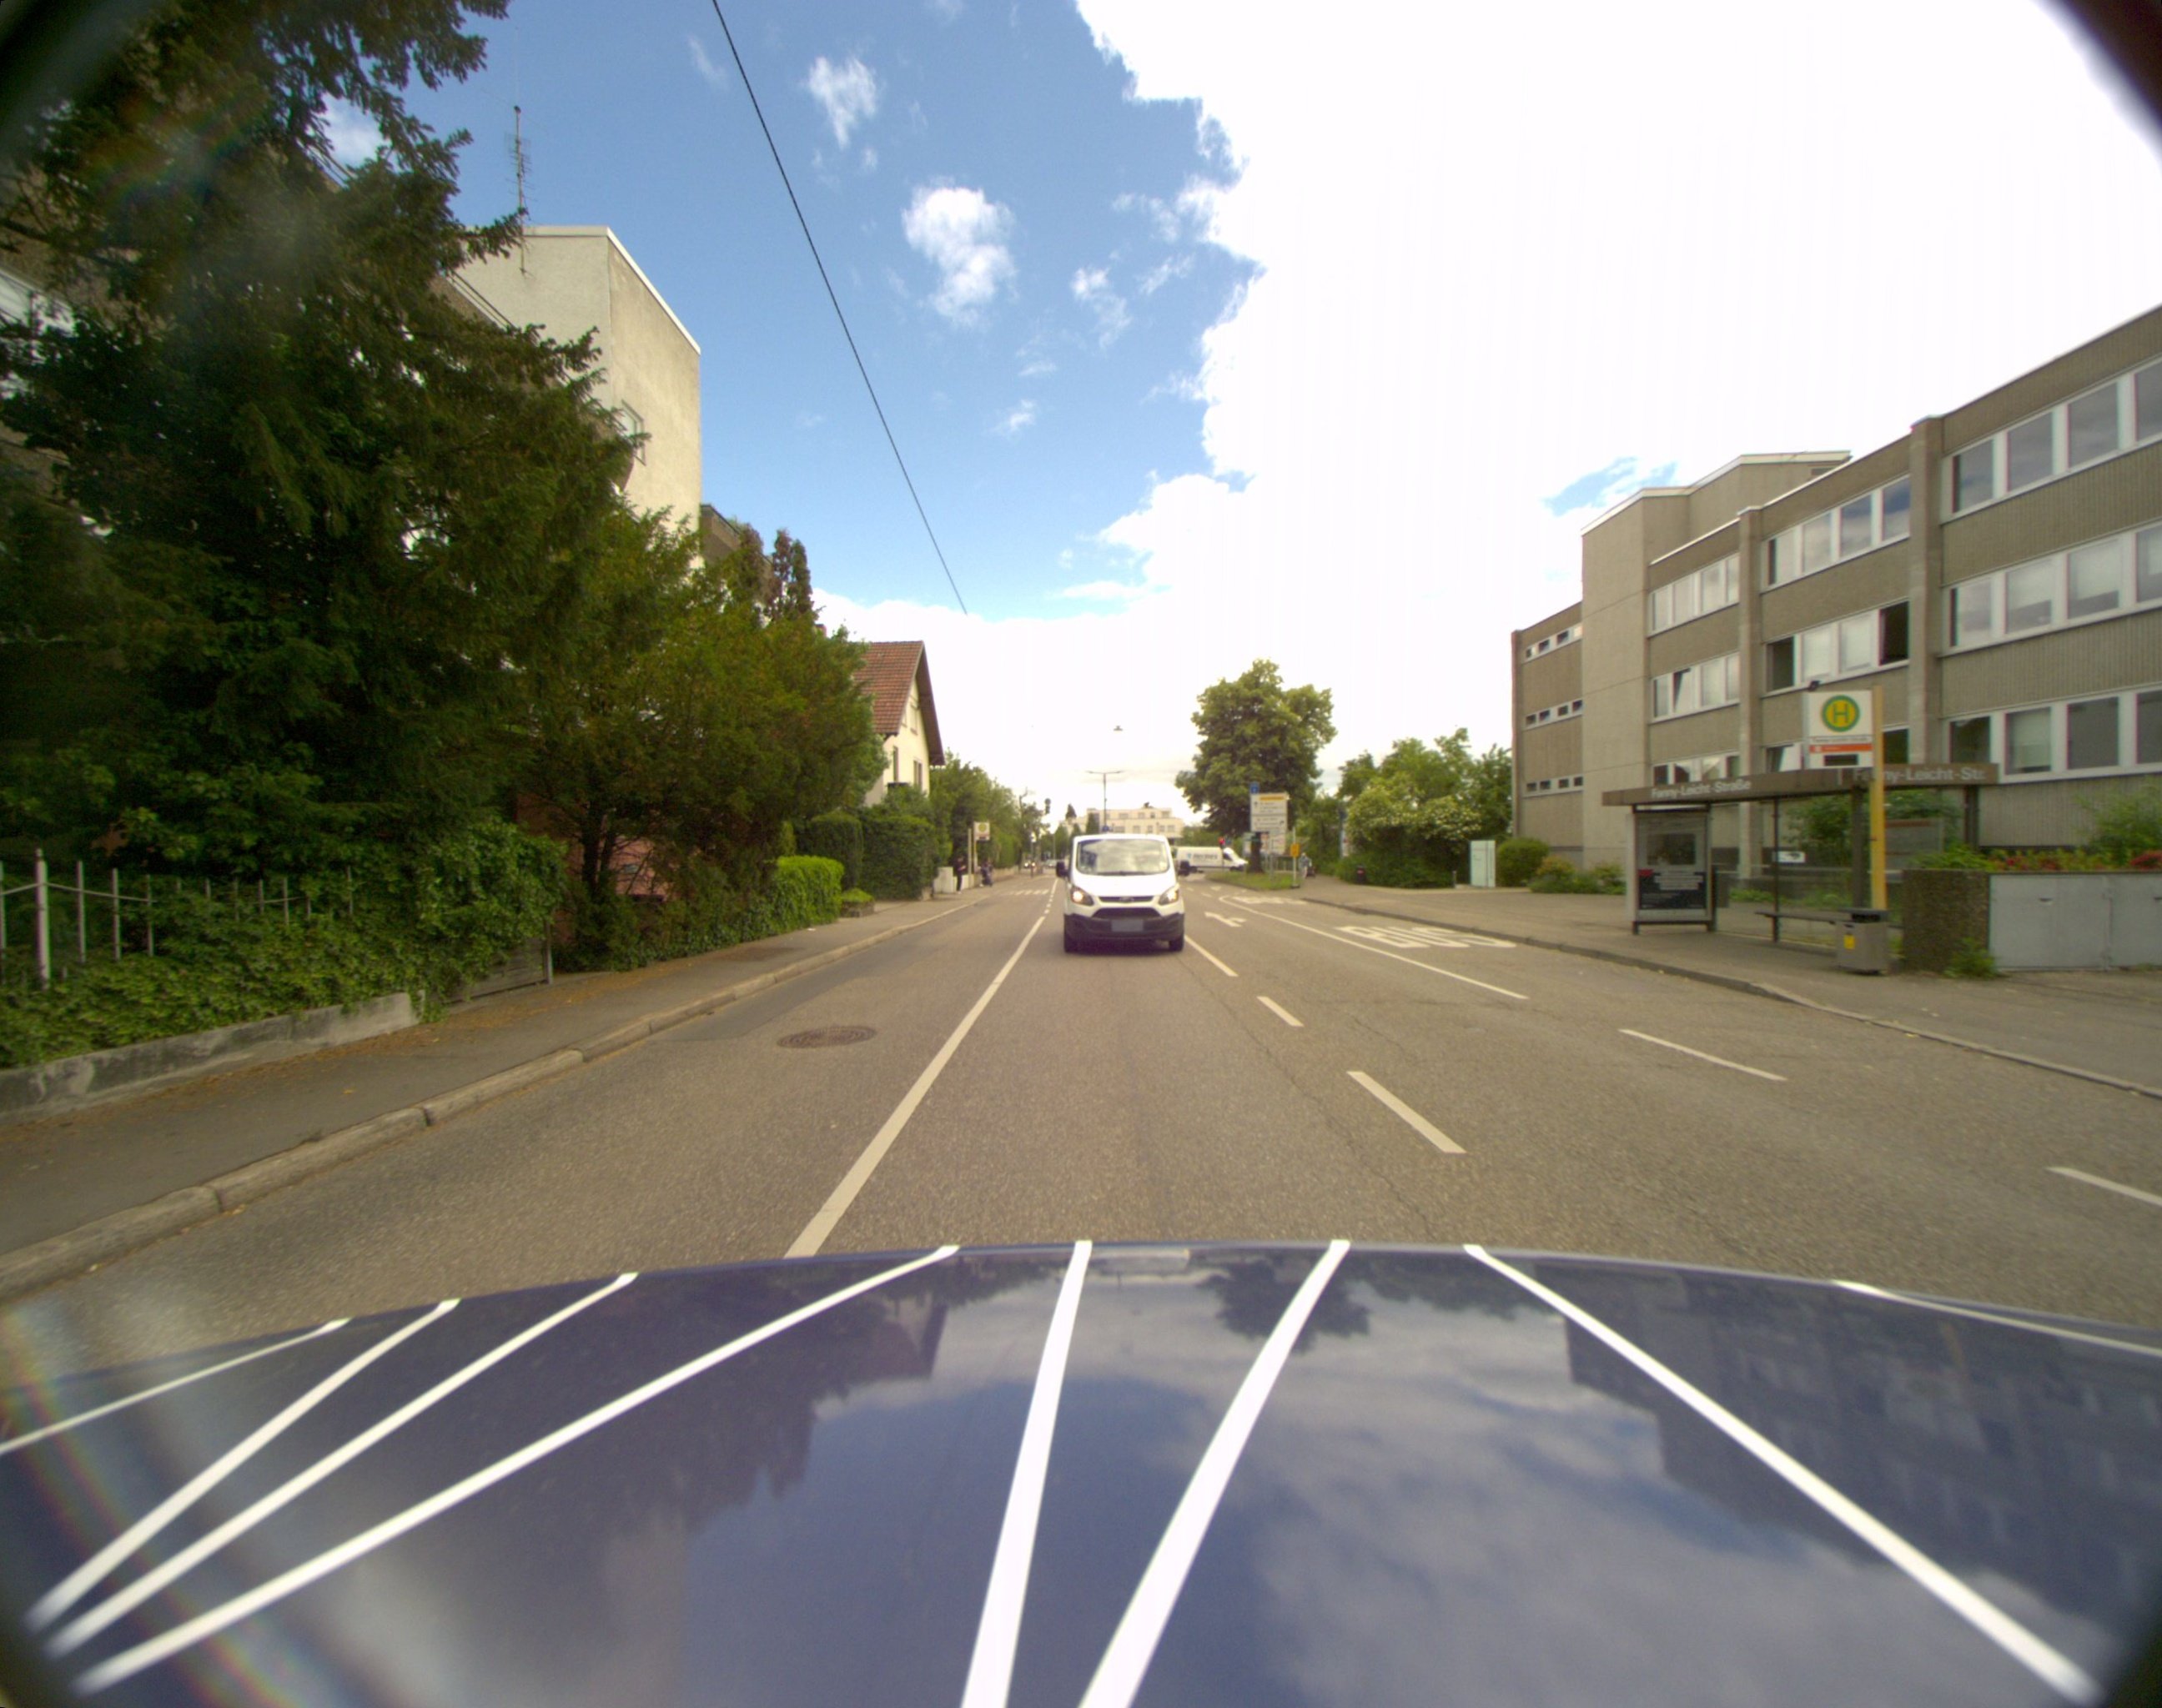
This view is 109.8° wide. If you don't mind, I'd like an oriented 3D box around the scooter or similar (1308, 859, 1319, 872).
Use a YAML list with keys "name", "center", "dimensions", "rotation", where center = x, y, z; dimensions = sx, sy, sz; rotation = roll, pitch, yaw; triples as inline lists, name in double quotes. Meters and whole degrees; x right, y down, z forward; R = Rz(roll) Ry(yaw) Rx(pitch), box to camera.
- name: "scooter or similar"
  center: [14.301, 0.715, 46.764]
  dimensions: [0.607, 0.782, 0.860]
  rotation: [-2, 1, 18]

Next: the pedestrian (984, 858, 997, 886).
- name: "pedestrian"
  center: [-5.159, 1.015, 43.316]
  dimensions: [0.661, 1.526, 0.748]
  rotation: [2, 1, -1]

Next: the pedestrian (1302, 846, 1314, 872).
- name: "pedestrian"
  center: [14.229, 0.303, 47.592]
  dimensions: [0.672, 1.549, 0.520]
  rotation: [-2, 1, 18]

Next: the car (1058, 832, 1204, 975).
- name: "car"
  center: [0.681, 0.672, 13.682]
  dimensions: [1.999, 1.961, 5.714]
  rotation: [-3, 1, -1]

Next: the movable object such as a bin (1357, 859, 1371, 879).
- name: "movable object such as a bin"
  center: [13.600, 0.698, 36.504]
  dimensions: [0.566, 0.922, 0.608]
  rotation: [-2, 1, 16]

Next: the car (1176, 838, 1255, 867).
- name: "car"
  center: [13.464, -0.137, 76.447]
  dimensions: [7.425, 2.630, 2.201]
  rotation: [-2, 1, 35]

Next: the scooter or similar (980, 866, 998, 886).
- name: "scooter or similar"
  center: [-5.125, 1.226, 42.467]
  dimensions: [0.478, 1.091, 0.860]
  rotation: [3, 1, 43]

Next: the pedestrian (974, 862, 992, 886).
- name: "pedestrian"
  center: [-5.314, 1.085, 41.298]
  dimensions: [0.916, 1.244, 0.789]
  rotation: [1, 1, -5]

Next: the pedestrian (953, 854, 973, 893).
- name: "pedestrian"
  center: [-5.438, 0.905, 35.091]
  dimensions: [0.489, 1.757, 0.672]
  rotation: [-2, 1, 32]
